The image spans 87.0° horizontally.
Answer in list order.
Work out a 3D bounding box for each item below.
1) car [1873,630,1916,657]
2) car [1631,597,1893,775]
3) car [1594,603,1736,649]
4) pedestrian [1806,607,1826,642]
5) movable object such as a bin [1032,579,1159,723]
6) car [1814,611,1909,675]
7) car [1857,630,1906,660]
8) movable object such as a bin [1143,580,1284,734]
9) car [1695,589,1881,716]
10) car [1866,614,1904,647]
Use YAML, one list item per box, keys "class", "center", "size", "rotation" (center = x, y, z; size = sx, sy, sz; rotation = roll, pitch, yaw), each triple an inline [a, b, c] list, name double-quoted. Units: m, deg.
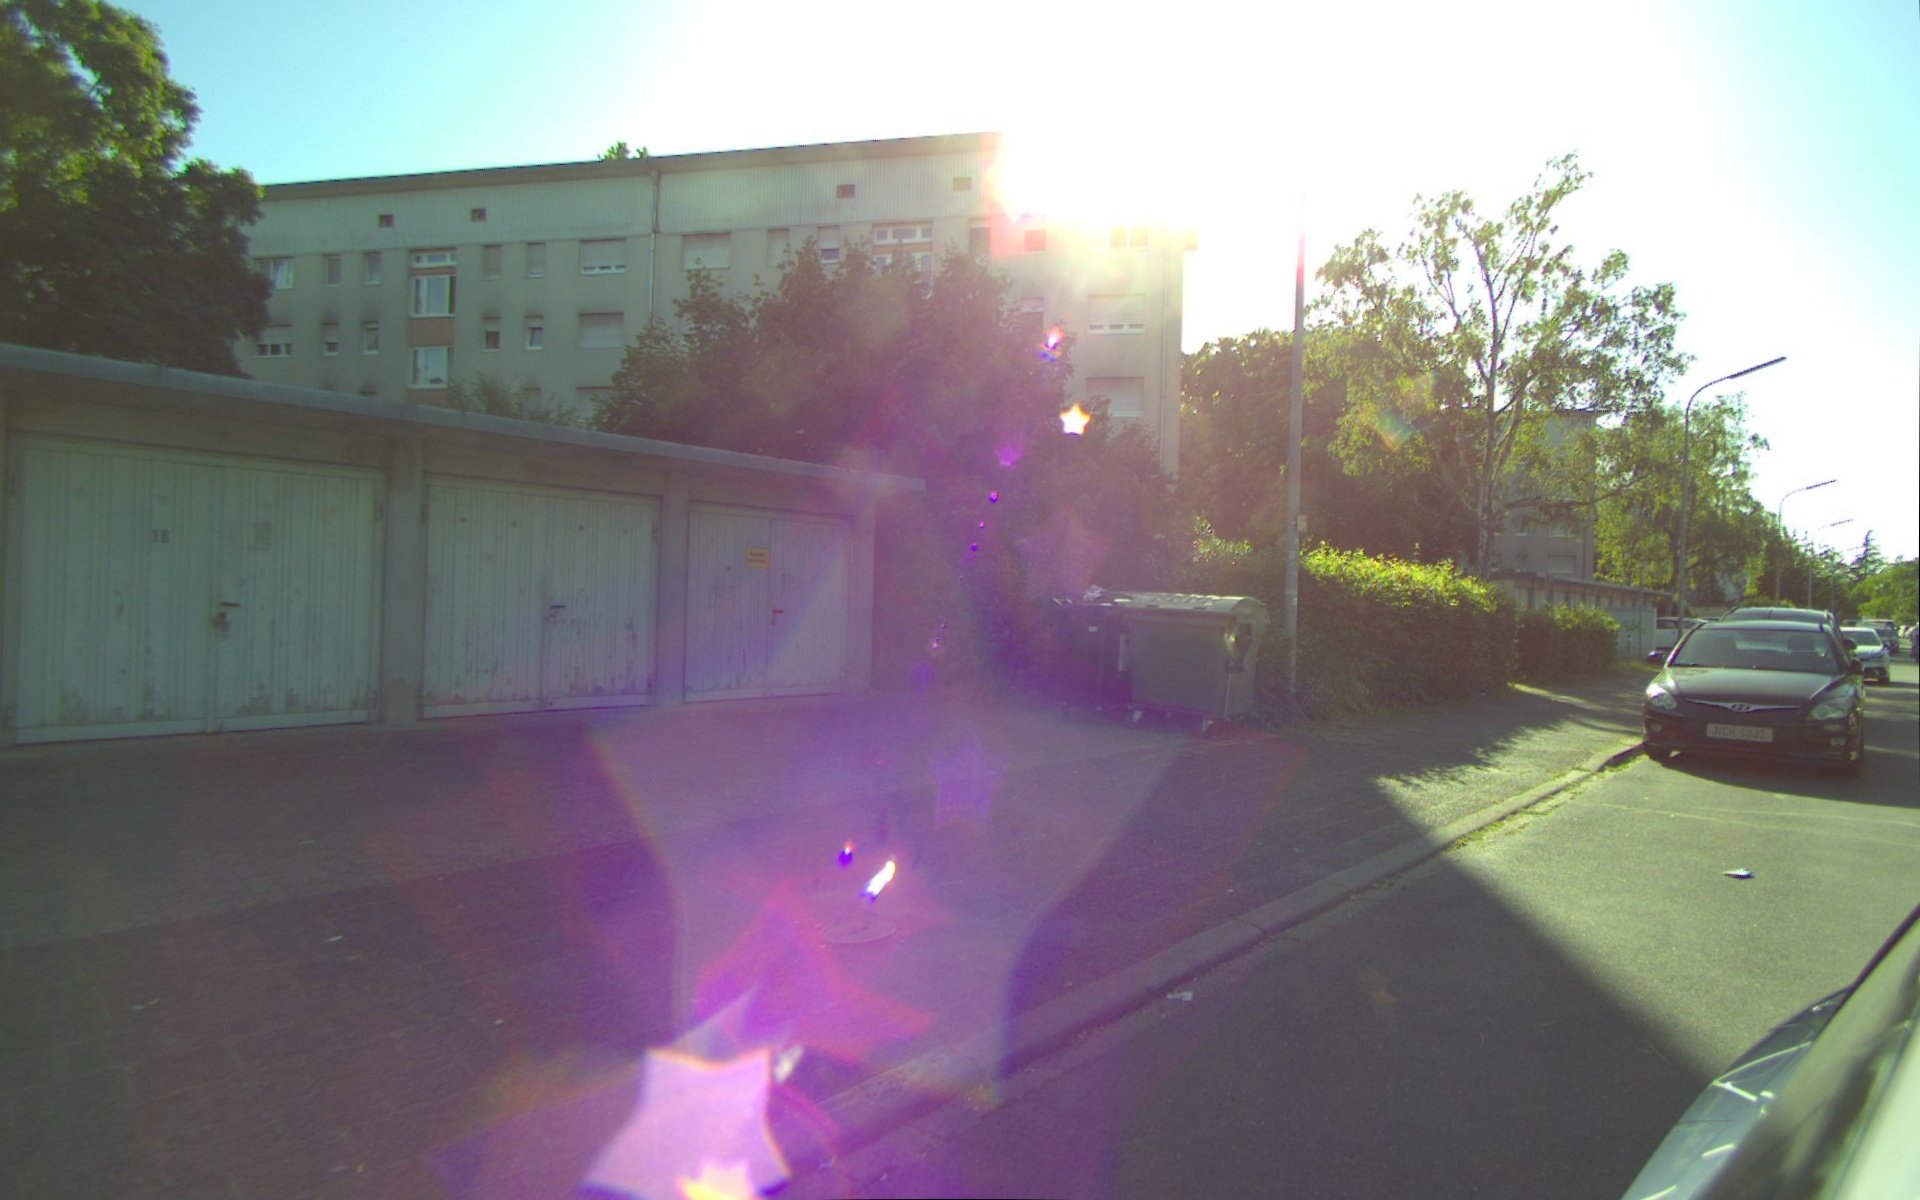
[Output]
- class: "car"
  center: [55.003, 2.547, 59.614]
  size: [1.730, 1.509, 4.433]
  rotation: [0, -2, 41]
- class: "car"
  center: [8.963, 0.801, 11.165]
  size: [1.908, 1.550, 4.259]
  rotation: [1, -1, 43]
- class: "car"
  center: [28.258, 1.015, 40.643]
  size: [4.418, 1.532, 1.799]
  rotation: [3, 1, 45]
- class: "pedestrian"
  center: [48.565, 1.410, 57.428]
  size: [0.704, 1.911, 0.858]
  rotation: [5, 2, 45]
- class: "movable object such as a bin"
  center: [1.490, 0.526, 11.097]
  size: [0.917, 1.472, 1.009]
  rotation: [2, 0, 44]
- class: "car"
  center: [23.642, 1.098, 26.614]
  size: [1.751, 1.533, 4.042]
  rotation: [0, -2, 41]
- class: "car"
  center: [46.925, 2.255, 51.606]
  size: [1.730, 1.421, 3.836]
  rotation: [0, -1, 41]
- class: "movable object such as a bin"
  center: [2.655, 0.557, 10.564]
  size: [0.917, 1.472, 1.213]
  rotation: [2, 0, 44]
- class: "car"
  center: [12.899, 0.737, 15.653]
  size: [1.908, 1.660, 4.555]
  rotation: [1, -1, 43]
- class: "car"
  center: [50.011, 1.631, 54.710]
  size: [1.488, 1.740, 2.542]
  rotation: [0, -2, 43]
